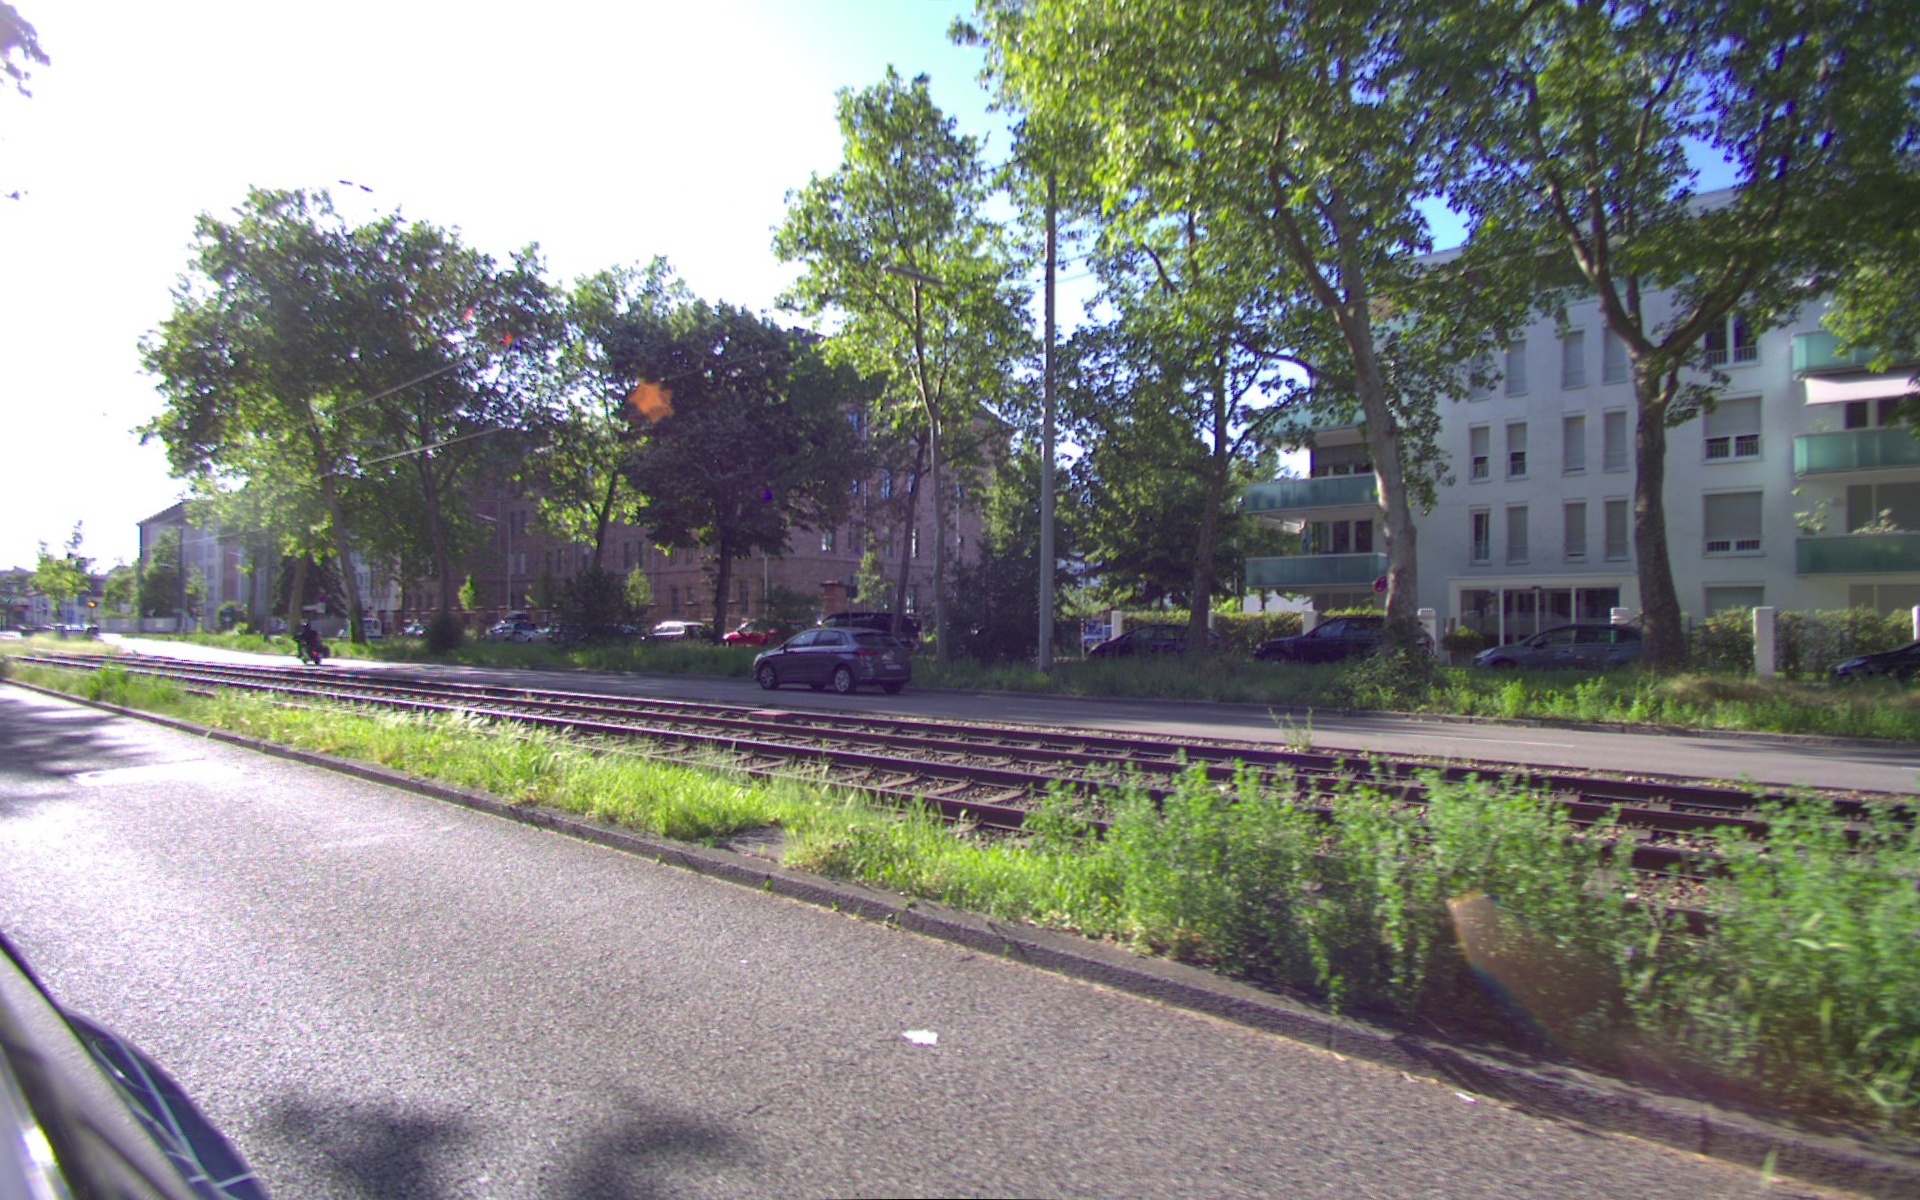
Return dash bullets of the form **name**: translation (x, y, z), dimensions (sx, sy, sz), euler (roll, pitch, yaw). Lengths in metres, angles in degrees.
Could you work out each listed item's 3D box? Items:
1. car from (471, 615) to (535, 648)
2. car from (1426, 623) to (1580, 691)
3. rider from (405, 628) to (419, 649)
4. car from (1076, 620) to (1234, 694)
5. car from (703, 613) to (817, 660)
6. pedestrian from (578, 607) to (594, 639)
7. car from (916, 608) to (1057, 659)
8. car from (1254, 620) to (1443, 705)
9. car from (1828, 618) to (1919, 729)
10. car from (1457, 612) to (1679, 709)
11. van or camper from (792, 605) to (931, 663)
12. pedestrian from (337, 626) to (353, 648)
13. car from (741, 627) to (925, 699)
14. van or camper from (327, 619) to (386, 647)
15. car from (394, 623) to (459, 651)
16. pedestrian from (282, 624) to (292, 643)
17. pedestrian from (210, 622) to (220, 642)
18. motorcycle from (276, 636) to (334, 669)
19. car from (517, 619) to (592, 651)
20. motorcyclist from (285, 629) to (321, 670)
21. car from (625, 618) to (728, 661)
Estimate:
- **car**: translation (-25.332, 1.744, 56.024), dimensions (4.421, 1.732, 1.748), euler (-2, -2, 44)
- **car**: translation (17.352, 1.770, 32.442), dimensions (3.998, 2.029, 1.973), euler (-2, -2, 41)
- **rider**: translation (-43.047, 3.011, 79.512), dimensions (0.685, 1.657, 0.721), euler (-2, -2, 40)
- **car**: translation (5.731, 1.629, 29.954), dimensions (4.155, 2.029, 1.974), euler (-1, -2, 39)
- **car**: translation (-8.270, 1.499, 41.718), dimensions (4.732, 1.823, 2.088), euler (-2, -2, 39)
- **pedestrian**: translation (-23.184, 1.428, 62.746), dimensions (0.625, 2.029, 0.707), euler (-2, -2, 40)
- **car**: translation (0.838, 1.185, 35.146), dimensions (2.002, 1.611, 5.096), euler (4, -4, -40)
- **car**: translation (10.026, 1.558, 26.258), dimensions (4.171, 2.029, 1.973), euler (-1, -2, 41)
- **car**: translation (18.866, 1.346, 18.783), dimensions (4.101, 2.029, 1.972), euler (-2, -2, 42)
- **car**: translation (13.848, 1.323, 23.162), dimensions (4.090, 2.029, 1.973), euler (-2, -2, 40)
- **van or camper**: translation (-3.756, 1.235, 38.013), dimensions (5.212, 2.029, 2.243), euler (-1, -1, 40)
- **pedestrian**: translation (-54.019, 3.273, 88.900), dimensions (0.941, 1.914, 0.891), euler (-2, -2, 41)
- **car**: translation (-3.024, 1.427, 23.505), dimensions (4.336, 1.520, 1.776), euler (-1, -4, 41)
- **van or camper**: translation (-41.361, 2.250, 69.336), dimensions (4.426, 1.801, 1.974), euler (-1, -2, 38)
- **car**: translation (-33.180, 2.285, 62.925), dimensions (4.823, 1.662, 1.973), euler (-2, -2, 41)
- **pedestrian**: translation (-67.551, 3.355, 101.545), dimensions (0.572, 1.851, 0.686), euler (-2, -2, 39)
- **pedestrian**: translation (-76.469, 3.280, 103.860), dimensions (0.859, 2.029, 0.656), euler (-2, -2, 39)
- **motorcycle**: translation (-25.376, 1.995, 39.170), dimensions (3.349, 1.221, 0.954), euler (-2, -2, 41)
- **car**: translation (-21.091, 1.805, 52.535), dimensions (4.421, 1.628, 1.971), euler (-2, -2, 44)
- **motorcyclist**: translation (-25.450, 1.909, 39.215), dimensions (0.958, 1.525, 0.934), euler (-2, -2, 40)
- **car**: translation (-12.758, 1.753, 45.373), dimensions (4.732, 1.823, 2.088), euler (-2, -2, 38)
